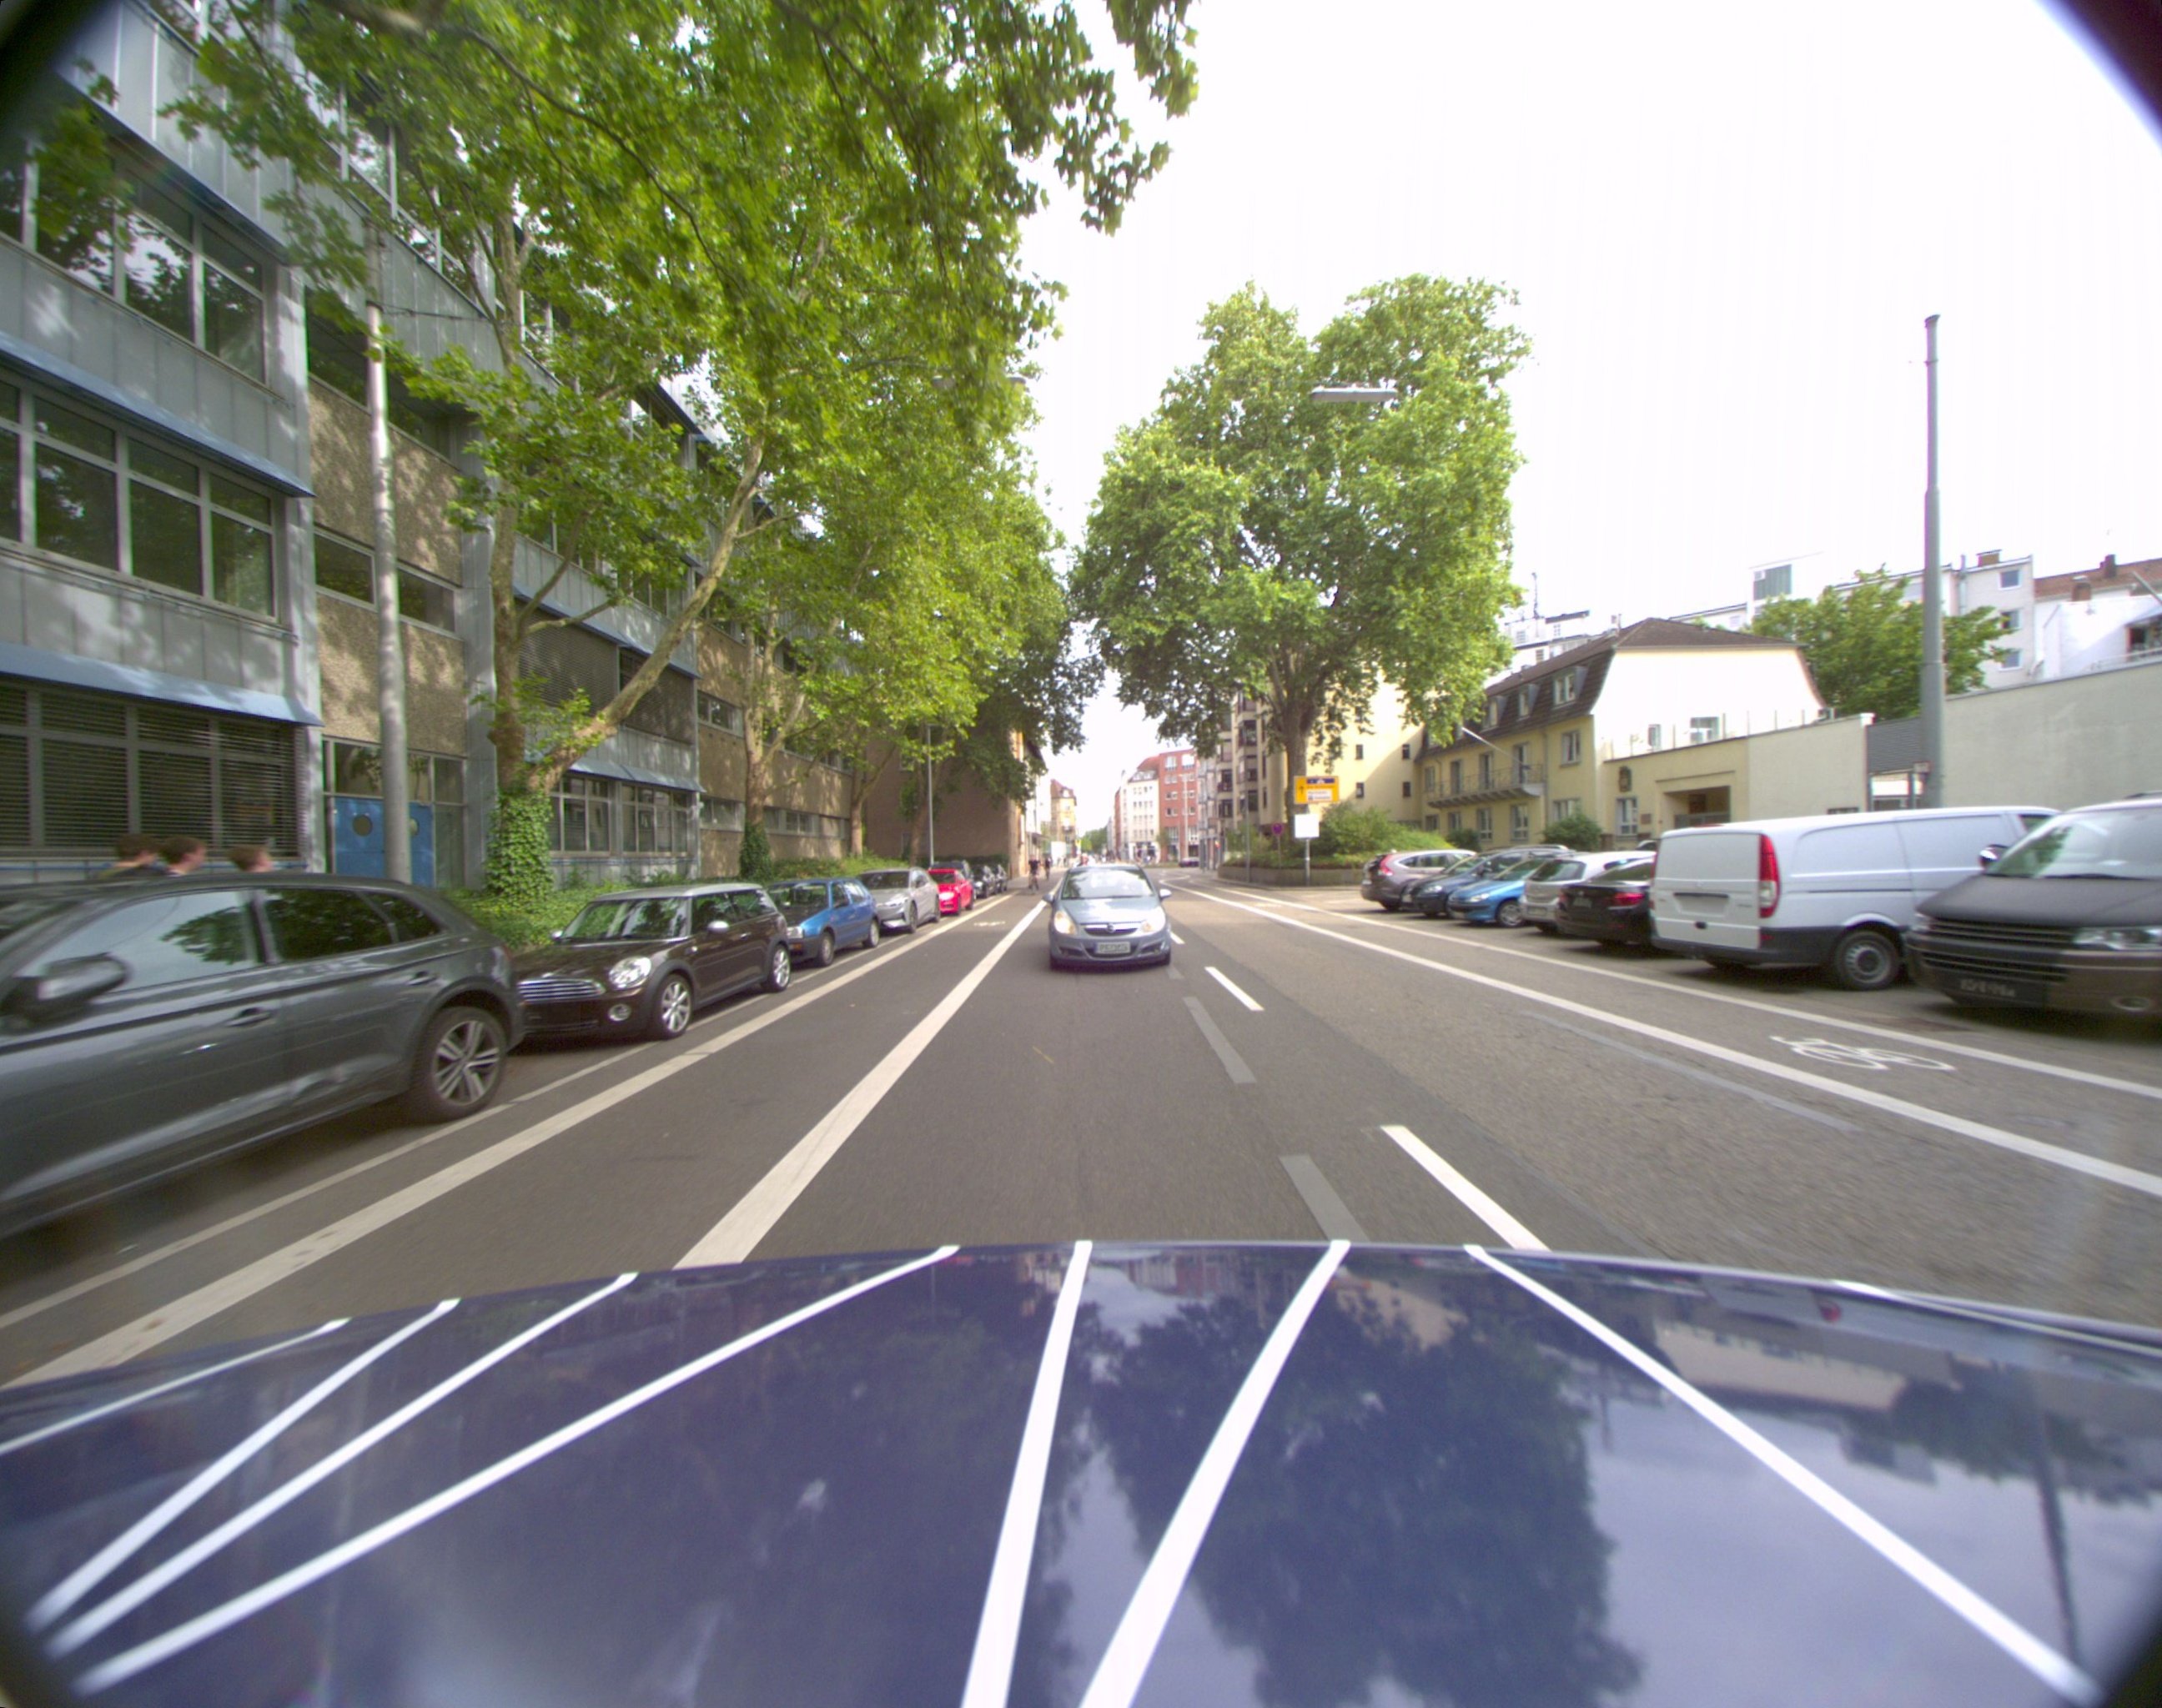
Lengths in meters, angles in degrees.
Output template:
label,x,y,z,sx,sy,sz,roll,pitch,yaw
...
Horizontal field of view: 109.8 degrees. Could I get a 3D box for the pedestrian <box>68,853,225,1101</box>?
label,x,y,z,sx,sy,sz,roll,pitch,yaw
pedestrian,-7.062,0.896,5.763,0.502,1.775,0.527,2,1,-1

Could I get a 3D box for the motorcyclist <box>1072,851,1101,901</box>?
label,x,y,z,sx,sy,sz,roll,pitch,yaw
motorcyclist,0.185,0.731,25.226,0.905,1.608,0.691,-1,1,0

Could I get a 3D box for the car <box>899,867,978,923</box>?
label,x,y,z,sx,sy,sz,roll,pitch,yaw
car,-4.358,1.204,23.779,1.602,1.438,4.105,-3,0,1

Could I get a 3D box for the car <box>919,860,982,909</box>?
label,x,y,z,sx,sy,sz,roll,pitch,yaw
car,-4.983,1.123,29.502,1.651,1.655,3.797,-3,0,1

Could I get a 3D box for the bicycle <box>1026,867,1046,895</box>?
label,x,y,z,sx,sy,sz,roll,pitch,yaw
bicycle,-2.053,1.227,34.853,0.763,1.162,1.949,-2,0,1

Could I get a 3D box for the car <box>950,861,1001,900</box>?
label,x,y,z,sx,sy,sz,roll,pitch,yaw
car,-4.652,1.144,34.047,1.602,1.516,3.956,-3,0,1

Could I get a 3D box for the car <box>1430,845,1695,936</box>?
label,x,y,z,sx,sy,sz,roll,pitch,yaw
car,9.774,0.714,15.672,4.276,1.502,1.719,-4,0,1

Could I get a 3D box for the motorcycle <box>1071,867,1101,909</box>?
label,x,y,z,sx,sy,sz,roll,pitch,yaw
motorcycle,0.162,1.064,24.518,0.905,1.190,2.630,-1,0,0

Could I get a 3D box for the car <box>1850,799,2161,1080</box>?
label,x,y,z,sx,sy,sz,roll,pitch,yaw
car,9.823,0.472,6.270,4.778,1.923,1.994,-4,0,1

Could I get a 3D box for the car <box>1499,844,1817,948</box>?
label,x,y,z,sx,sy,sz,roll,pitch,yaw
car,9.994,0.700,13.411,4.203,1.443,1.719,-4,0,1

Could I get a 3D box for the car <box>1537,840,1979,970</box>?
label,x,y,z,sx,sy,sz,roll,pitch,yaw
car,9.670,0.688,11.178,4.716,1.461,1.874,-4,0,1

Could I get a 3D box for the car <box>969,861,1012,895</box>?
label,x,y,z,sx,sy,sz,roll,pitch,yaw
car,-4.576,1.157,38.760,1.602,1.516,3.956,-3,0,1

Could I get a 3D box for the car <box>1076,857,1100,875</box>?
label,x,y,z,sx,sy,sz,roll,pitch,yaw
car,0.613,1.062,68.890,2.000,1.556,4.550,-2,0,0

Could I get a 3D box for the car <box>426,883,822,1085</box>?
label,x,y,z,sx,sy,sz,roll,pitch,yaw
car,-4.615,1.182,8.668,1.644,1.424,4.573,-3,0,1

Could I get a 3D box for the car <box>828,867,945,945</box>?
label,x,y,z,sx,sy,sz,roll,pitch,yaw
car,-4.552,1.153,18.460,1.602,1.496,4.440,-3,0,1

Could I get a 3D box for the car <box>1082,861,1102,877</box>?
label,x,y,z,sx,sy,sz,roll,pitch,yaw
car,1.226,1.617,83.158,1.934,1.637,4.001,-1,0,4

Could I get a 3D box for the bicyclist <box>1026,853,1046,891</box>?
label,x,y,z,sx,sy,sz,roll,pitch,yaw
bicyclist,-2.059,0.833,34.904,0.764,1.699,0.917,-2,1,1

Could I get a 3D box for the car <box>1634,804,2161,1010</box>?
label,x,y,z,sx,sy,sz,roll,pitch,yaw
car,9.443,0.531,8.739,4.627,1.848,1.950,-4,0,1

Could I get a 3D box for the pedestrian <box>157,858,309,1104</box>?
label,x,y,z,sx,sy,sz,roll,pitch,yaw
pedestrian,-6.453,0.937,5.800,0.592,1.775,0.476,2,1,-1

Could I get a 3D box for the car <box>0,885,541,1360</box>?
label,x,y,z,sx,sy,sz,roll,pitch,yaw
car,-4.956,1.090,3.358,1.926,1.612,4.480,-3,0,-1

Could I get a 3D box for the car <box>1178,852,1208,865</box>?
label,x,y,z,sx,sy,sz,roll,pitch,yaw
car,15.082,0.582,102.128,1.967,1.660,4.560,-1,1,38

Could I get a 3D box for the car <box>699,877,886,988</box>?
label,x,y,z,sx,sy,sz,roll,pitch,yaw
car,-4.726,1.205,13.097,1.602,1.414,3.956,-3,0,1

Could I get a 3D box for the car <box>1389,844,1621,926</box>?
label,x,y,z,sx,sy,sz,roll,pitch,yaw
car,9.784,0.696,17.765,4.372,1.540,1.733,-4,0,1

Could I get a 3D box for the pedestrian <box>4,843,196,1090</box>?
label,x,y,z,sx,sy,sz,roll,pitch,yaw
pedestrian,-7.678,0.841,5.977,0.644,1.823,0.645,2,1,-1

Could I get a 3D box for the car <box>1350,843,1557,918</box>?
label,x,y,z,sx,sy,sz,roll,pitch,yaw
car,9.745,0.677,20.114,4.529,1.596,1.754,-4,0,1

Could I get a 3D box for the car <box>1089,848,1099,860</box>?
label,x,y,z,sx,sy,sz,roll,pitch,yaw
car,2.816,-0.010,167.886,1.998,2.546,4.799,-2,0,1

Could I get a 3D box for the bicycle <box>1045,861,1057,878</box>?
label,x,y,z,sx,sy,sz,roll,pitch,yaw
bicycle,-2.209,1.140,56.459,0.763,1.162,1.949,-2,0,1

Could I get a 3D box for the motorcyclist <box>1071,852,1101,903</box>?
label,x,y,z,sx,sy,sz,roll,pitch,yaw
motorcyclist,0.160,0.739,24.517,0.905,1.608,0.691,-1,1,0

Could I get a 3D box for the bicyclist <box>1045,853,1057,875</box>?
label,x,y,z,sx,sy,sz,roll,pitch,yaw
bicyclist,-2.214,0.728,56.461,0.749,1.590,0.819,-2,1,1

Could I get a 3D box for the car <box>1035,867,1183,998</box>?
label,x,y,z,sx,sy,sz,roll,pitch,yaw
car,0.346,0.967,11.121,1.717,1.412,4.253,-2,0,0
